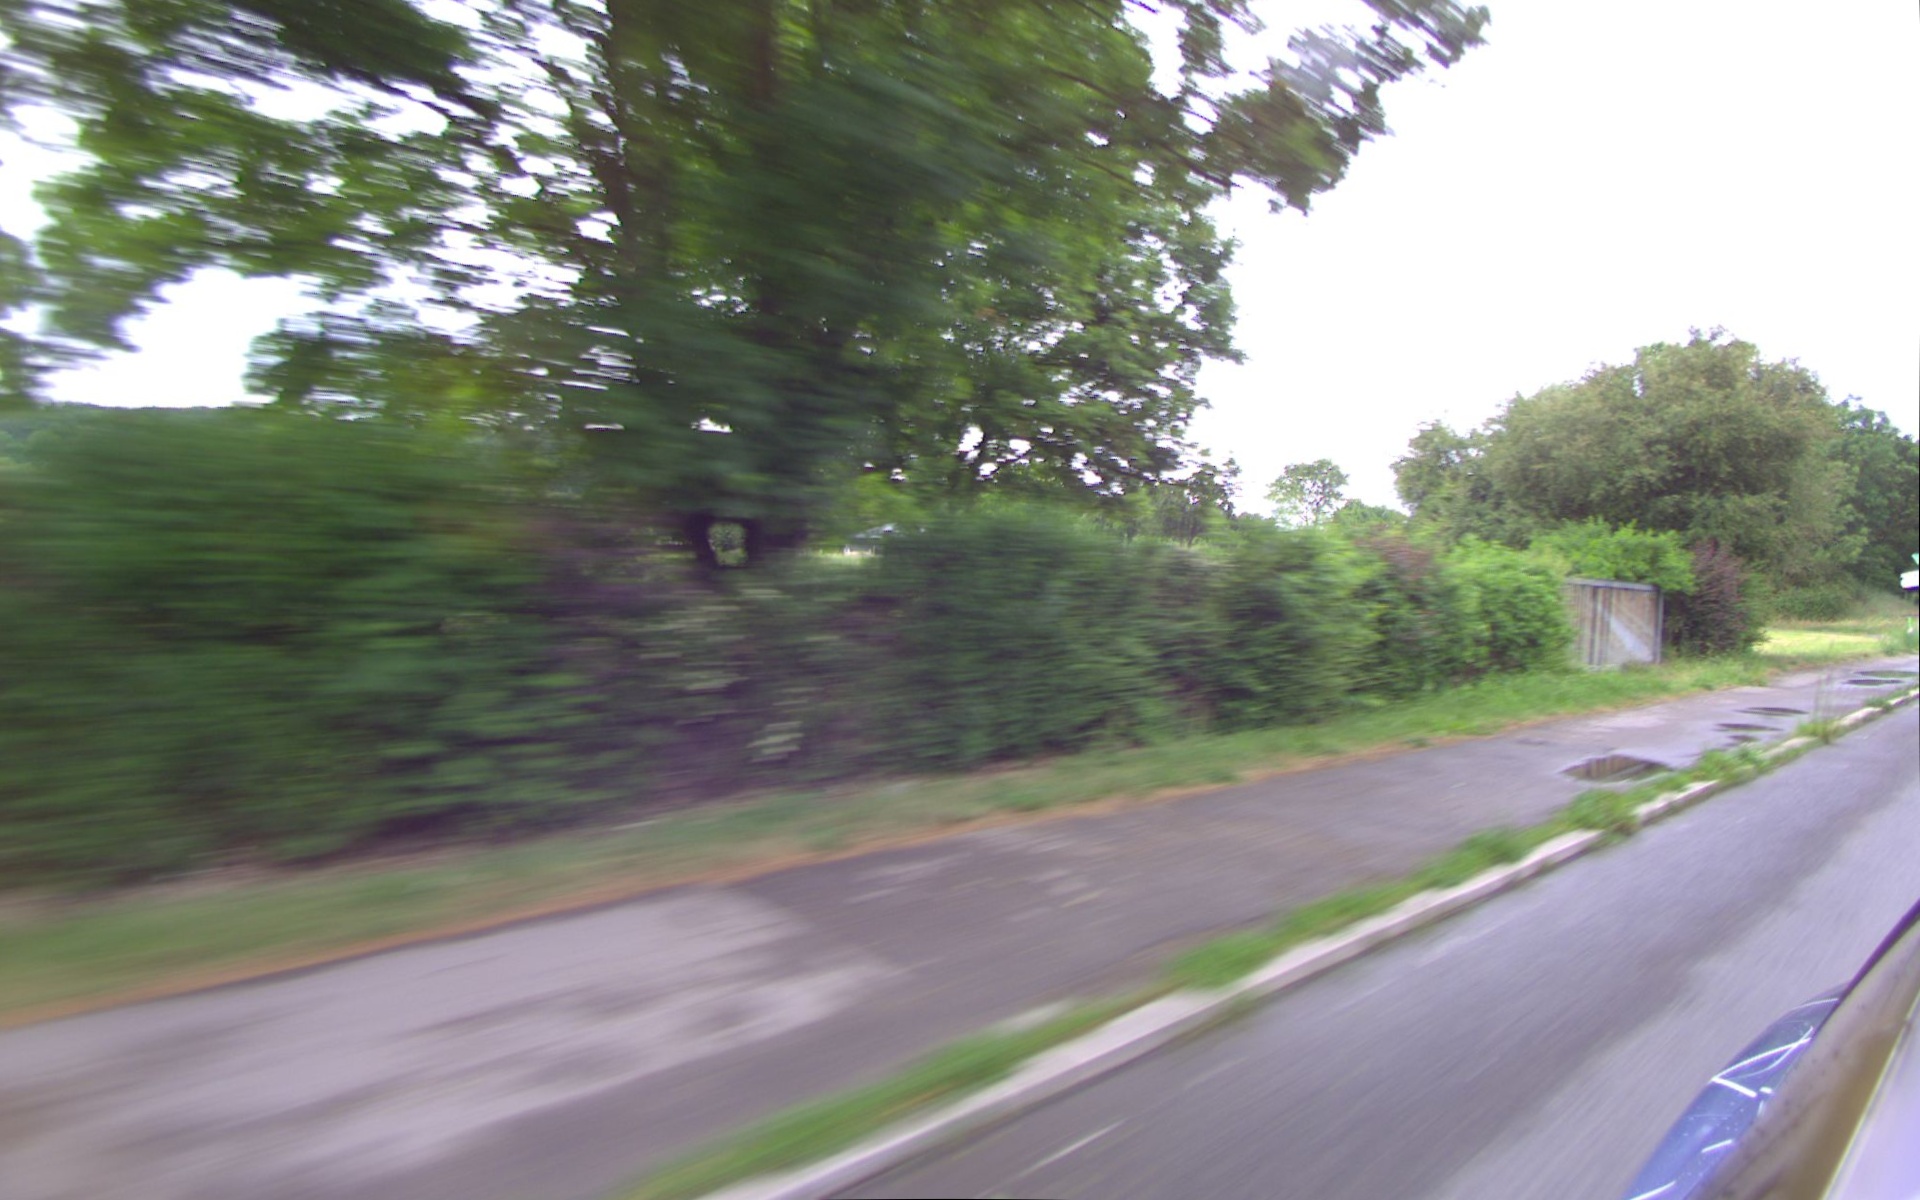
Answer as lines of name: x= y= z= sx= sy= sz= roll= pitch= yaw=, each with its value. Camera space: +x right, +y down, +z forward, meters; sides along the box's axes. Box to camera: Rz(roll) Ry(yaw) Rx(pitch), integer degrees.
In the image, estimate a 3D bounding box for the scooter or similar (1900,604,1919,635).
scooter or similar: x=39.285 y=0.797 z=41.428 sx=0.367 sy=1.221 sz=1.328 roll=1 pitch=1 yaw=0
